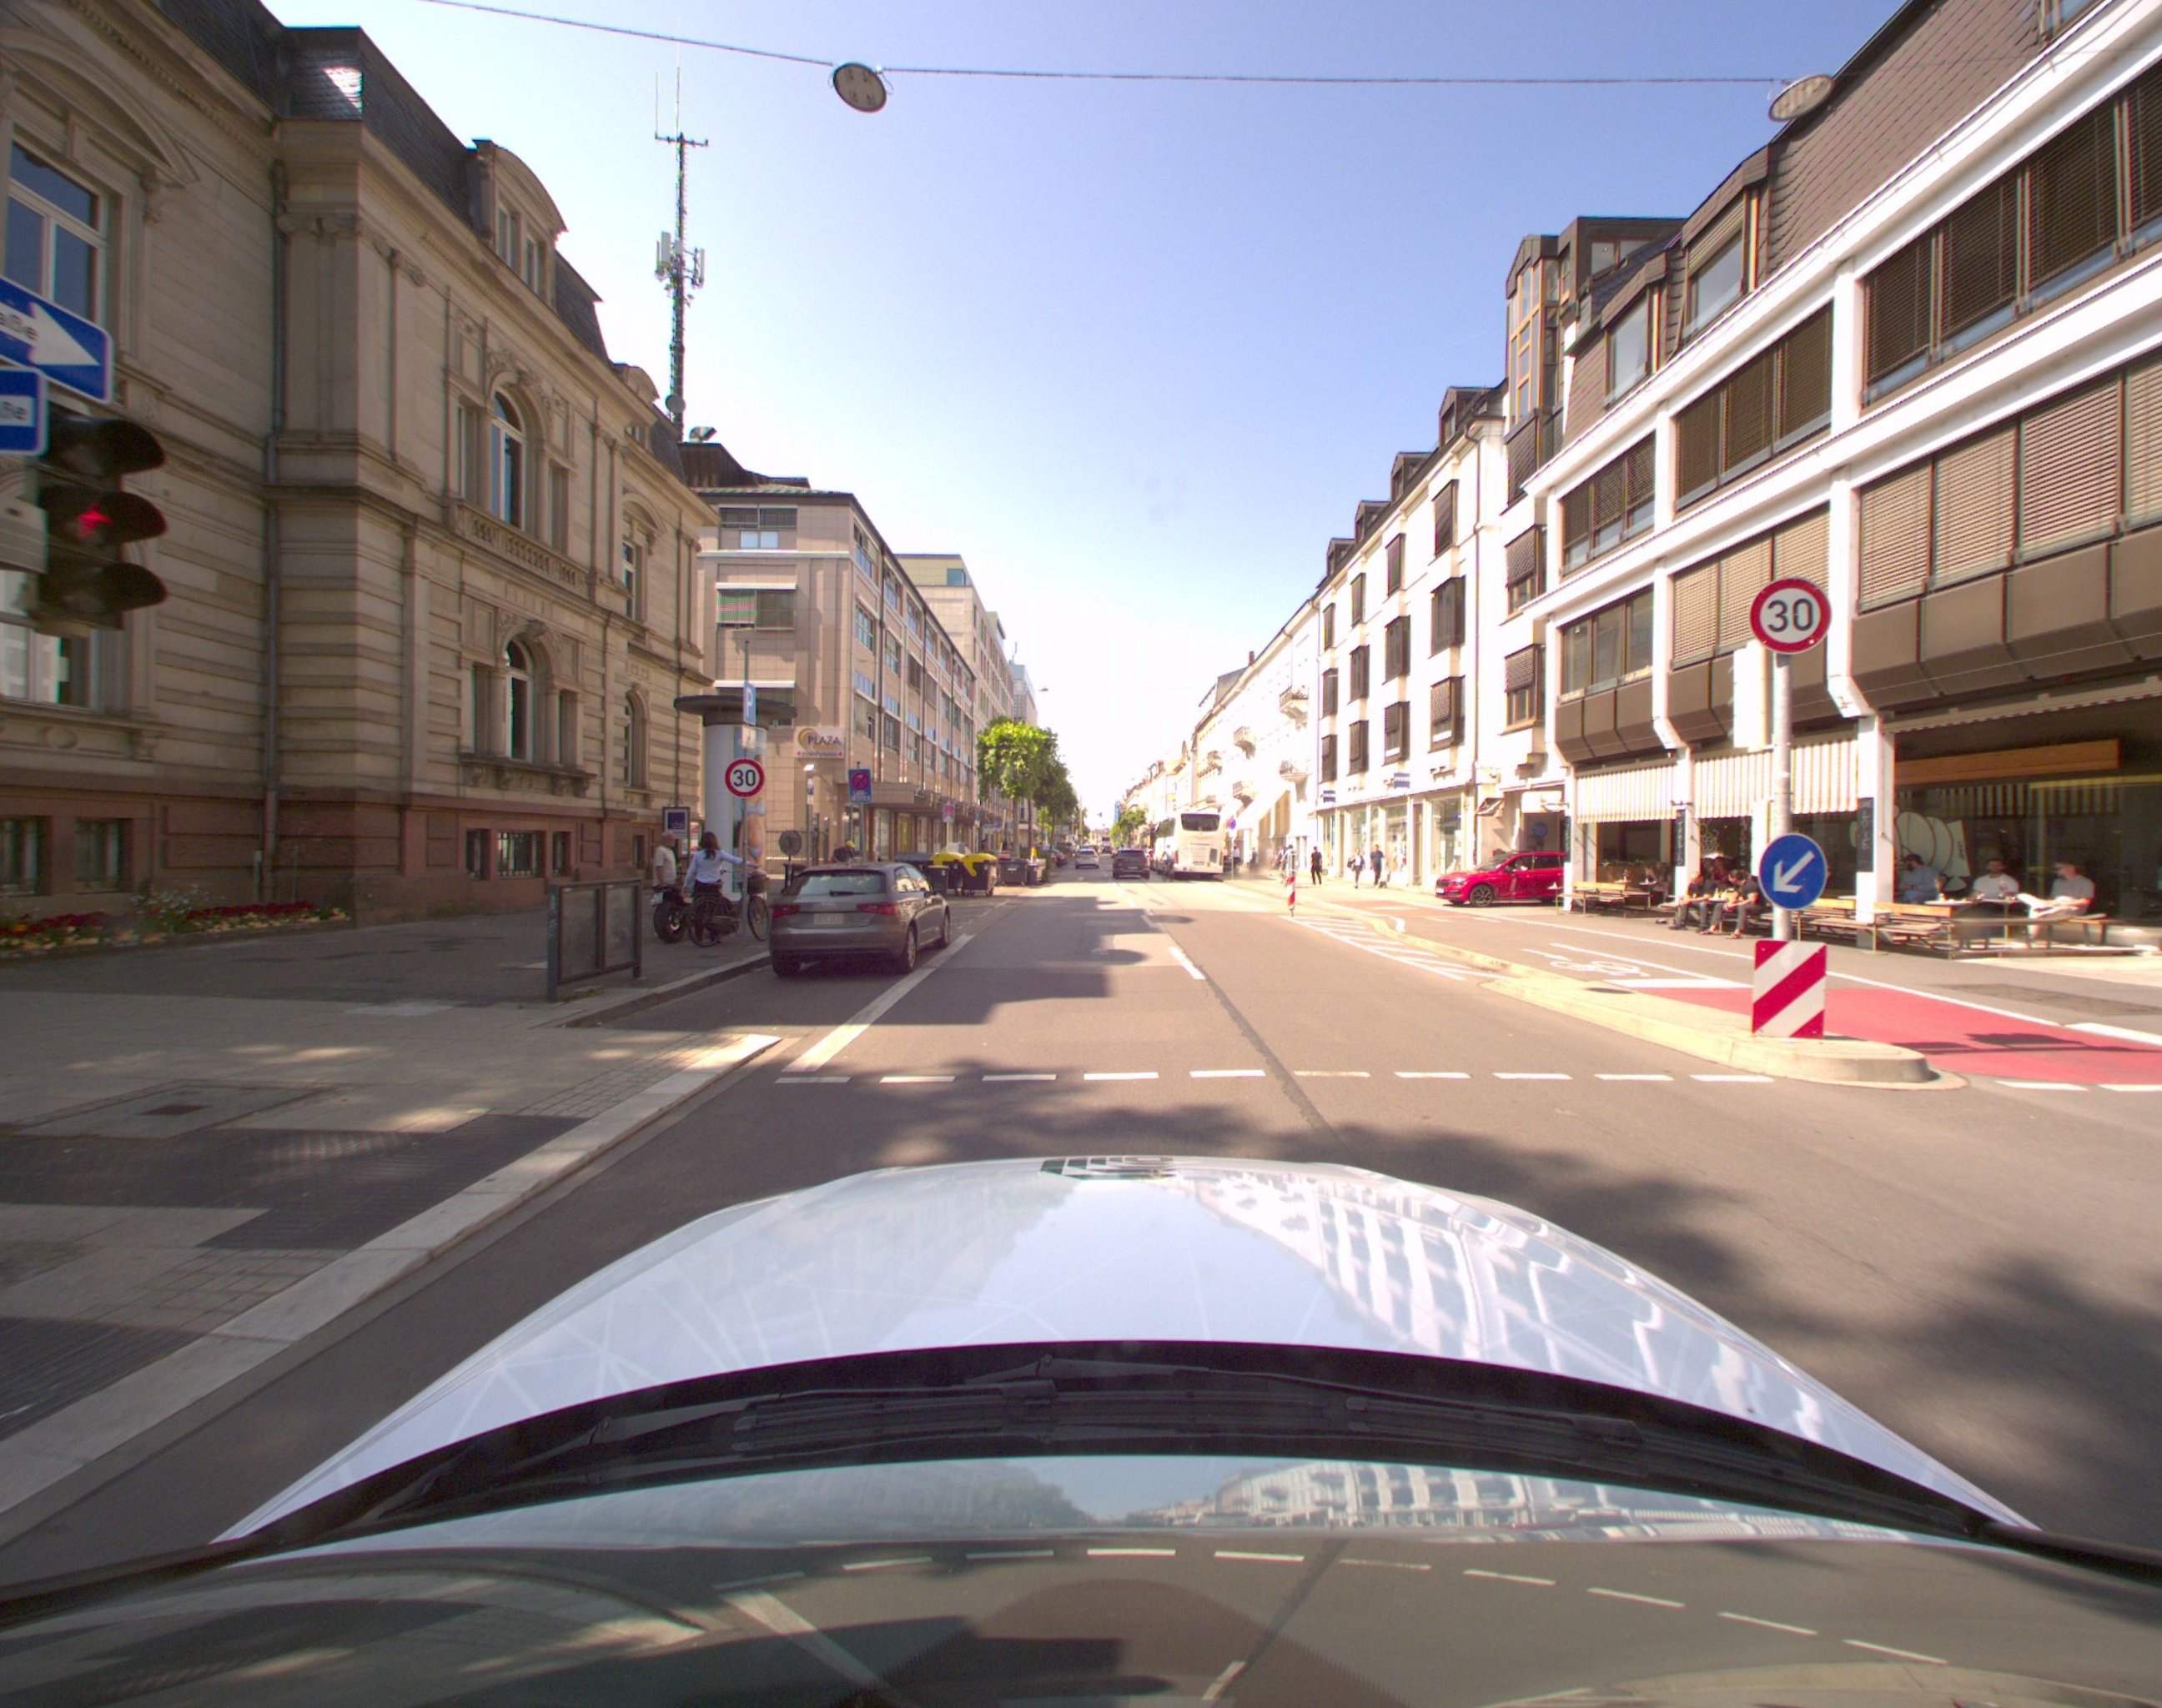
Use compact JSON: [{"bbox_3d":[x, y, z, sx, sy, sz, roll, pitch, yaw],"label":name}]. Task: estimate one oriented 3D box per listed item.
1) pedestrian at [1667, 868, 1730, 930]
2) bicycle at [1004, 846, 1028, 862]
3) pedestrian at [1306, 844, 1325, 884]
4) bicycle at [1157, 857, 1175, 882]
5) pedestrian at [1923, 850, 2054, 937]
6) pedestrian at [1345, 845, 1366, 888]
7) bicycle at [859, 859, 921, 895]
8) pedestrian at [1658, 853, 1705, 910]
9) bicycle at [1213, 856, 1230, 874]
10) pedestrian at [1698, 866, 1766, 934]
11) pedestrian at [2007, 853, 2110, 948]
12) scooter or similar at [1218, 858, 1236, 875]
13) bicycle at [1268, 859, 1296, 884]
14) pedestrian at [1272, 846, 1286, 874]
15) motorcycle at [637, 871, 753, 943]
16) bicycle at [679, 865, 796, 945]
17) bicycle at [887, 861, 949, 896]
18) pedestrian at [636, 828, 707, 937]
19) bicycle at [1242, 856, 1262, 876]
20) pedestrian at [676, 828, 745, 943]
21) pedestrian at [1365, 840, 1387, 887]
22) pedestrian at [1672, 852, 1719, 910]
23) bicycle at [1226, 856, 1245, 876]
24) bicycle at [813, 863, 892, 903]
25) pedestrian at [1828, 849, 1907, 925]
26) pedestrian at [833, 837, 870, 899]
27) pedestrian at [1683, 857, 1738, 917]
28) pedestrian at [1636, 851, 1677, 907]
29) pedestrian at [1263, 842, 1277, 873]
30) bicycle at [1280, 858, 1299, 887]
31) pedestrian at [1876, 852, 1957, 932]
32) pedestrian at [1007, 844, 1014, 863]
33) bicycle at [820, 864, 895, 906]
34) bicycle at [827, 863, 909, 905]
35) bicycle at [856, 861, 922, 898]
[{"bbox_3d":[11.972,0.863,15.809,0.707,1.173,0.698,0,-1,9],"label":"pedestrian"},{"bbox_3d":[-5.776,-0.009,72.271,2.063,1.288,0.367,3,0,-7],"label":"bicycle"},{"bbox_3d":[10.338,0.446,35.882,0.617,1.720,0.836,0,-1,3],"label":"pedestrian"},{"bbox_3d":[4.130,0.726,39.593,0.662,1.120,2.244,2,1,1],"label":"bicycle"},{"bbox_3d":[14.809,0.628,13.327,0.893,1.351,1.105,0,-1,-1],"label":"pedestrian"},{"bbox_3d":[11.072,0.490,32.853,0.690,1.685,0.837,0,0,9],"label":"pedestrian"},{"bbox_3d":[-6.038,0.719,25.816,1.839,1.073,0.556,-1,-1,-4],"label":"bicycle"},{"bbox_3d":[14.873,0.671,20.192,0.742,1.367,0.584,0,0,-1],"label":"pedestrian"},{"bbox_3d":[8.661,0.657,50.273,0.618,1.099,2.352,1,0,-1],"label":"bicycle"},{"bbox_3d":[11.932,0.827,14.953,0.707,1.217,0.698,0,-1,9],"label":"pedestrian"},{"bbox_3d":[14.817,0.688,12.365,0.709,1.396,0.696,0,-1,-1],"label":"pedestrian"},{"bbox_3d":[8.675,0.751,48.461,0.863,0.957,1.212,1,0,-1],"label":"scooter or similar"},{"bbox_3d":[9.108,0.772,36.969,0.618,1.099,2.352,1,0,-1],"label":"bicycle"},{"bbox_3d":[11.592,0.358,47.739,0.642,1.617,0.822,0,-1,3],"label":"pedestrian"},{"bbox_3d":[-6.065,0.797,12.957,0.451,0.998,2.166,2,0,10],"label":"motorcycle"},{"bbox_3d":[-5.256,0.747,12.642,0.426,1.120,2.250,2,-1,12],"label":"bicycle"},{"bbox_3d":[-5.451,0.828,27.298,1.963,1.120,0.508,1,-1,-4],"label":"bicycle"},{"bbox_3d":[-6.506,0.442,12.979,0.546,1.665,0.939,0,-1,9],"label":"pedestrian"},{"bbox_3d":[9.710,0.677,46.301,0.618,1.099,2.352,1,0,-1],"label":"bicycle"},{"bbox_3d":[-5.625,0.471,12.410,0.691,1.695,0.691,0,-1,3],"label":"pedestrian"},{"bbox_3d":[11.765,0.389,32.514,0.690,1.851,0.837,0,-1,9],"label":"pedestrian"},{"bbox_3d":[14.822,0.650,19.653,0.758,1.367,0.478,0,0,-1],"label":"pedestrian"},{"bbox_3d":[8.675,0.663,45.807,0.618,1.099,2.352,1,0,-1],"label":"bicycle"},{"bbox_3d":[-6.228,0.789,22.292,1.963,1.017,0.668,2,-1,-11],"label":"bicycle"},{"bbox_3d":[14.775,0.616,15.315,0.811,1.396,0.696,0,-1,-2],"label":"pedestrian"},{"bbox_3d":[-6.546,0.401,23.241,0.888,1.725,0.747,1,0,-6],"label":"pedestrian"},{"bbox_3d":[14.825,0.767,19.188,0.874,1.367,0.537,0,0,-1],"label":"pedestrian"},{"bbox_3d":[14.393,0.620,20.379,0.533,1.367,0.689,0,0,1],"label":"pedestrian"},{"bbox_3d":[10.900,0.215,46.979,0.571,1.778,1.021,0,-1,3],"label":"pedestrian"},{"bbox_3d":[8.714,0.763,34.129,0.591,1.120,1.805,0,1,8],"label":"bicycle"},{"bbox_3d":[14.833,0.663,14.472,0.709,1.396,0.696,0,-1,-1],"label":"pedestrian"},{"bbox_3d":[-6.313,-0.051,72.437,0.565,1.657,0.635,1,0,-8],"label":"pedestrian"},{"bbox_3d":[-6.288,0.869,23.012,1.960,1.120,0.554,2,-1,-11],"label":"bicycle"},{"bbox_3d":[-6.169,0.871,23.668,2.236,1.120,0.554,2,-1,-11],"label":"bicycle"},{"bbox_3d":[-6.263,0.840,26.644,1.970,1.120,0.508,2,-1,-4],"label":"bicycle"}]
